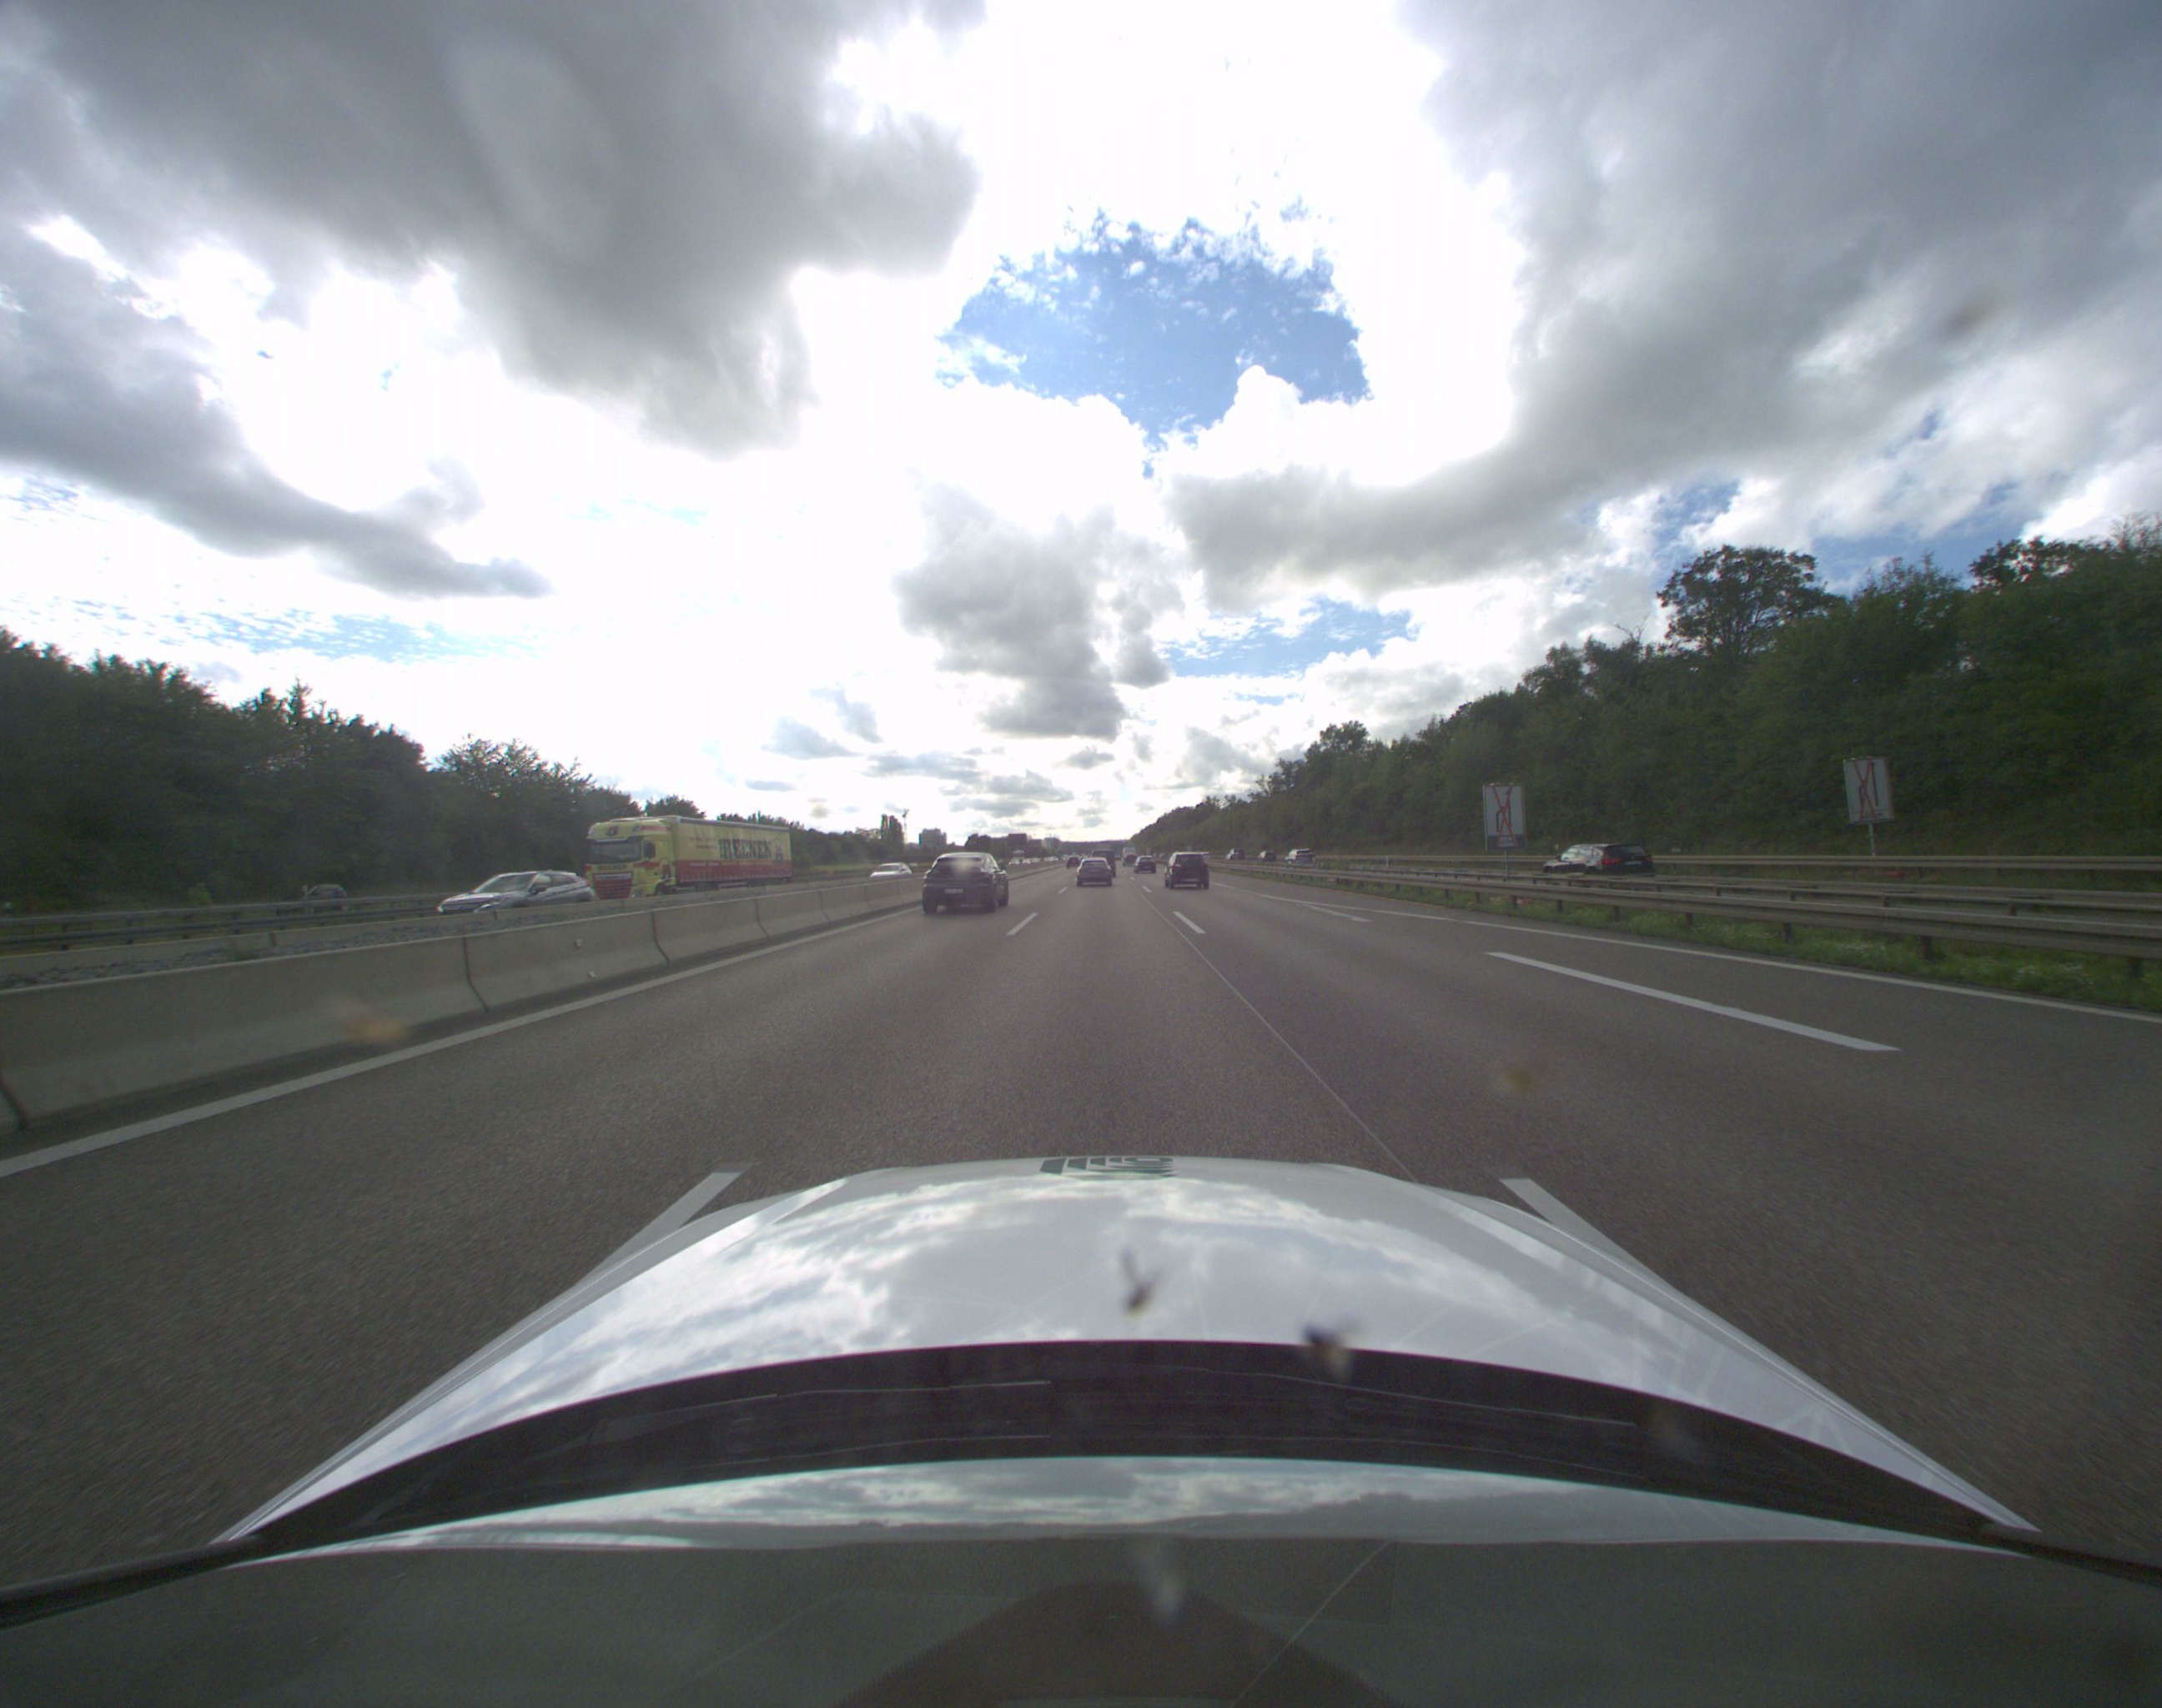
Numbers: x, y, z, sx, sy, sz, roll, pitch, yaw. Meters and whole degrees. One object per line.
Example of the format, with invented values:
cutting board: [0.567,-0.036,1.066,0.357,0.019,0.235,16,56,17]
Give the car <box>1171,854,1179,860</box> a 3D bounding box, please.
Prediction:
car: [26.757,0.819,231.644,1.746,1.517,4.190,-1,0,0]

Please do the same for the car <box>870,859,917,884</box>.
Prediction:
car: [-11.414,1.042,49.769,1.660,1.401,4.535,-2,0,1]

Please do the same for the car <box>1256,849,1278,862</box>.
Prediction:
car: [23.566,0.171,103.178,1.723,1.546,4.305,-3,0,0]

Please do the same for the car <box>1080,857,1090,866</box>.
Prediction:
car: [0.747,1.368,148.082,1.691,1.611,4.114,-1,0,1]

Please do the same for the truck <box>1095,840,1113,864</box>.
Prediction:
truck: [4.327,-0.413,153.625,3.251,4.375,11.029,0,0,2]

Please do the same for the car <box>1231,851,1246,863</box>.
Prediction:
car: [24.276,0.446,125.436,1.590,1.804,3.824,-1,0,0]

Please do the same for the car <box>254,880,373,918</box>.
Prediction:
car: [-39.469,2.263,42.049,1.839,1.662,4.421,-2,0,2]

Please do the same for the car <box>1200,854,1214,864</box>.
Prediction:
car: [21.063,0.821,136.507,1.746,1.695,4.191,-1,0,1]

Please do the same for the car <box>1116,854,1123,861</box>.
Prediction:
car: [10.029,0.992,214.444,1.746,1.695,4.191,-1,0,1]

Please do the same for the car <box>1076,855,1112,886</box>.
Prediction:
car: [0.701,0.797,41.795,1.714,1.479,4.392,-1,0,1]

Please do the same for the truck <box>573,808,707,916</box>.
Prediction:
truck: [-19.321,0.333,36.091,2.886,4.323,5.163,-2,0,2]

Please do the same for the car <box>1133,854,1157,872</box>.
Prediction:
car: [5.494,0.757,70.538,1.825,1.521,4.226,-1,0,1]

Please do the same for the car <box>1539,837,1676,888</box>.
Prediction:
car: [17.862,0.265,27.929,1.836,1.484,4.527,-3,0,1]

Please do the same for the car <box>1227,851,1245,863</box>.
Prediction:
car: [20.175,0.427,106.050,1.590,1.546,4.189,-1,0,0]

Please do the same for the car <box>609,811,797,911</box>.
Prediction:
car: [-19.178,0.310,43.026,2.895,4.325,14.149,-2,0,1]

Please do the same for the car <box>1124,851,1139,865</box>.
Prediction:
car: [7.113,0.532,114.893,1.906,1.919,4.031,-1,0,1]

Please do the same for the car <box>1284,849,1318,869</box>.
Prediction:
car: [19.311,0.410,71.709,1.840,1.650,4.307,-3,0,1]

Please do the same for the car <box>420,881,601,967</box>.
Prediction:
car: [-15.629,1.839,22.686,1.746,2.013,4.554,0,0,1]

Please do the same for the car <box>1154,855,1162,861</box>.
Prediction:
car: [21.861,1.187,231.587,1.722,1.533,4.453,-2,0,1]

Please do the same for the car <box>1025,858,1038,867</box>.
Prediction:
car: [-8.564,1.509,140.721,1.750,1.402,4.076,-2,0,2]

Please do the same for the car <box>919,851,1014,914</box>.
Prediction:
car: [-3.268,0.752,24.362,1.905,1.636,5.501,-1,0,1]

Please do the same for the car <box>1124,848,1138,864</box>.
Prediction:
car: [7.484,0.274,121.803,1.866,2.357,4.283,-1,0,1]

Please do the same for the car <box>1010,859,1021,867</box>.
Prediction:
car: [-12.243,1.669,152.359,1.574,1.284,4.243,-2,0,2]

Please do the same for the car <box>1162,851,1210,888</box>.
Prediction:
car: [4.778,0.676,37.476,1.691,1.564,4.114,-1,0,1]

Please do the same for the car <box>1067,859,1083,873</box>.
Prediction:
car: [-0.757,1.517,103.656,1.866,1.698,4.073,-1,0,1]

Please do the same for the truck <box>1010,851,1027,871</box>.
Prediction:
truck: [-14.352,1.609,188.359,3.036,4.289,8.590,-2,0,1]

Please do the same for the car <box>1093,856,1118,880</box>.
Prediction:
car: [1.769,0.991,59.588,1.714,1.724,4.392,-1,0,1]
